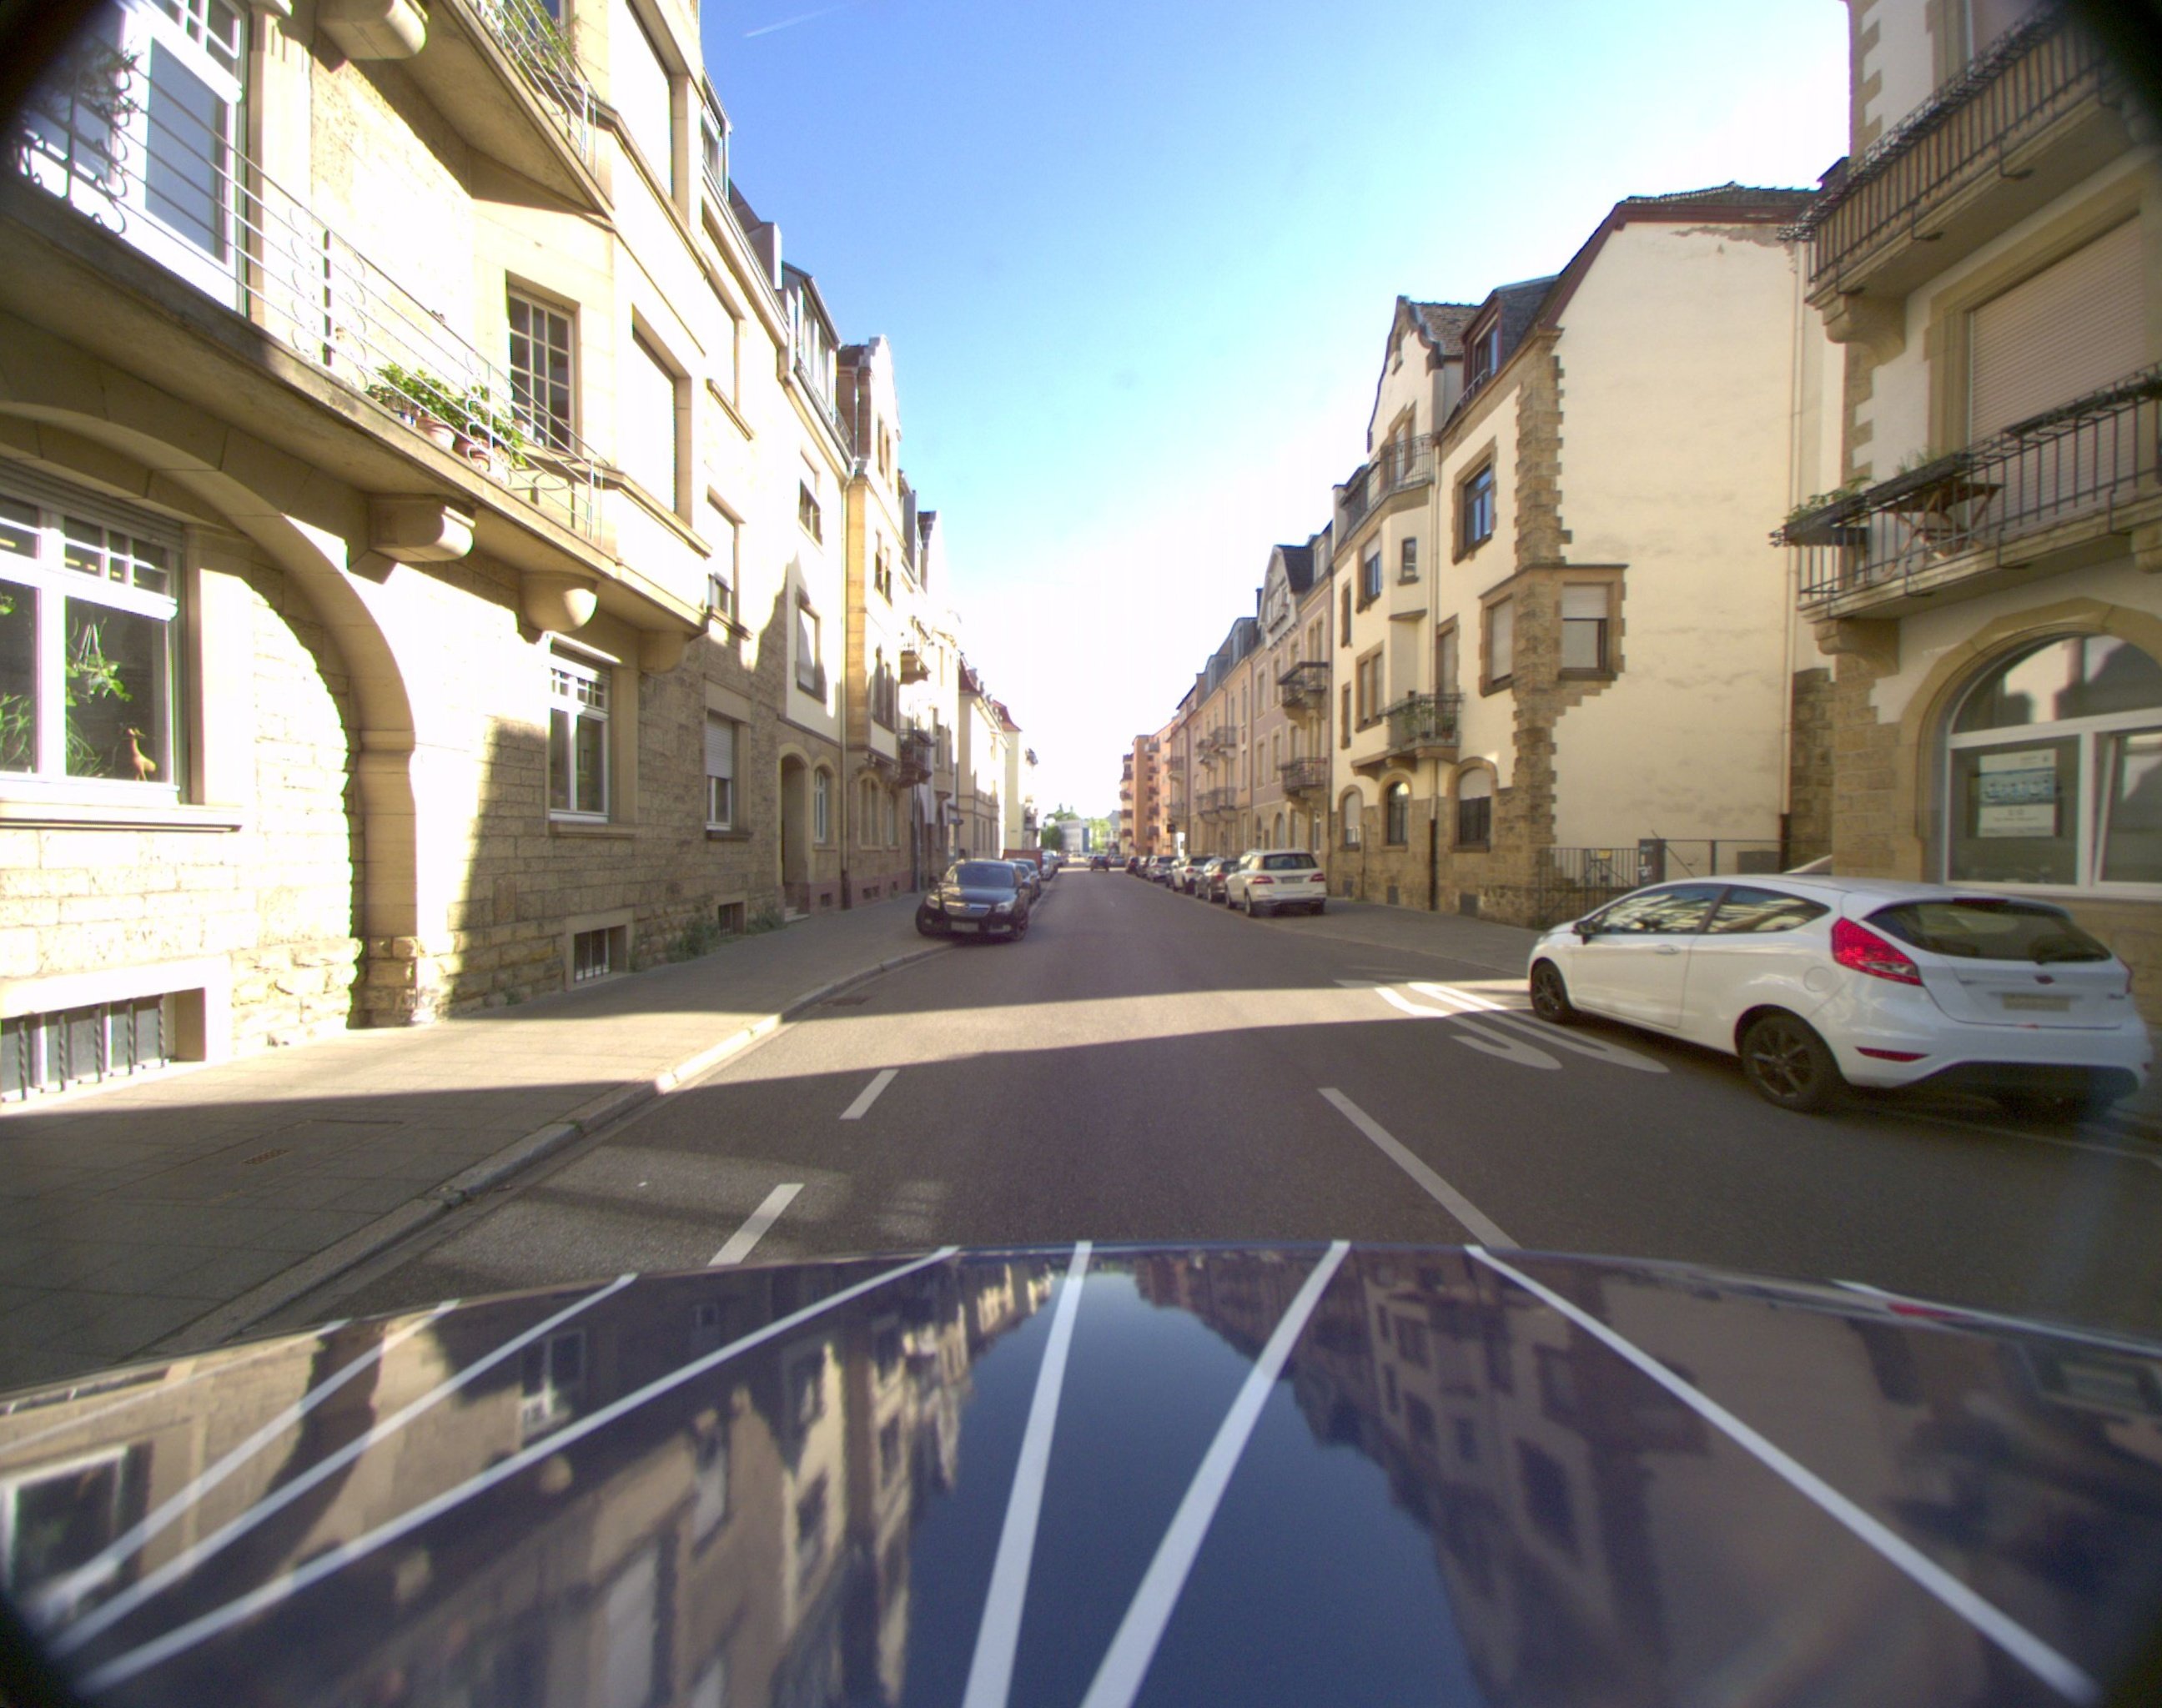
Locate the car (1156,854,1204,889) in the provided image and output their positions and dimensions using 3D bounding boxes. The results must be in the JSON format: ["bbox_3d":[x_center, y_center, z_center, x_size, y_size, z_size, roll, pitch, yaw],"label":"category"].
[{"bbox_3d":[4.858,0.814,37.797,1.857,1.491,4.318,-2,1,1],"label":"car"}]

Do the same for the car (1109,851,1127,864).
[{"bbox_3d":[4.627,0.388,96.197,2.005,1.500,4.320,1,1,-1],"label":"car"}]

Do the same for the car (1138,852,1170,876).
[{"bbox_3d":[4.995,0.665,52.342,1.809,1.500,4.003,-2,1,1],"label":"car"}]

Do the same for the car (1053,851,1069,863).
[{"bbox_3d":[-2.579,0.429,99.944,2.005,1.500,4.320,1,1,-1],"label":"car"}]

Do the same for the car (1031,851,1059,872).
[{"bbox_3d":[-2.741,0.534,58.657,2.005,1.500,4.320,1,1,-1],"label":"car"}]

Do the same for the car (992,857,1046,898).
[{"bbox_3d":[-2.382,0.889,30.112,1.824,1.415,4.320,1,1,-1],"label":"car"}]

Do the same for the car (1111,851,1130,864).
[{"bbox_3d":[4.677,0.405,91.383,2.005,1.500,4.320,1,1,-1],"label":"car"}]

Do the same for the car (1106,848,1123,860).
[{"bbox_3d":[4.522,-0.001,101.949,2.005,1.500,4.320,1,1,-1],"label":"car"}]

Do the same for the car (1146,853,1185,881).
[{"bbox_3d":[5.024,0.730,45.823,1.890,1.500,4.320,-2,1,1],"label":"car"}]

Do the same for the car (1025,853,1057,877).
[{"bbox_3d":[-2.745,0.735,52.632,2.005,1.500,4.320,1,1,-1],"label":"car"}]

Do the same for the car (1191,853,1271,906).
[{"bbox_3d":[5.125,0.818,26.536,1.890,1.500,4.320,-4,1,1],"label":"car"}]

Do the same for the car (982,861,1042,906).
[{"bbox_3d":[-2.231,0.925,25.369,1.661,1.272,3.729,1,1,-1],"label":"car"}]

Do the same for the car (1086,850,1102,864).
[{"bbox_3d":[1.423,0.305,84.582,1.702,1.474,3.534,1,0,0],"label":"car"}]

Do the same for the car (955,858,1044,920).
[{"bbox_3d":[-2.095,0.872,20.791,2.005,1.499,4.321,1,0,-1],"label":"car"}]

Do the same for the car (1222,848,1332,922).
[{"bbox_3d":[5.198,0.748,20.736,1.890,1.717,4.211,-2,1,1],"label":"car"}]

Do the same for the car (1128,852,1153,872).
[{"bbox_3d":[4.896,0.638,62.964,1.793,1.500,4.320,-2,1,1],"label":"car"}]

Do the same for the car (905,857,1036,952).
[{"bbox_3d":[-2.035,0.880,15.242,2.024,1.500,4.111,2,1,-1],"label":"car"}]

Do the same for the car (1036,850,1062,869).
[{"bbox_3d":[-2.669,0.450,64.490,2.005,1.500,4.320,1,1,-1],"label":"car"}]

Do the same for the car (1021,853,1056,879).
[{"bbox_3d":[-2.650,0.716,47.859,2.005,1.500,4.320,1,1,-1],"label":"car"}]

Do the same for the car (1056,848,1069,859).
[{"bbox_3d":[-2.934,-0.106,123.323,2.005,1.722,4.320,1,1,-1],"label":"car"}]

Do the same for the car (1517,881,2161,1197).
[{"bbox_3d":[5.114,1.012,5.690,1.656,1.449,3.643,2,0,2],"label":"car"}]

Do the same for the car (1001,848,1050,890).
[{"bbox_3d":[-2.557,0.649,35.801,2.005,1.828,4.320,1,1,-1],"label":"car"}]

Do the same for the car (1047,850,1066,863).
[{"bbox_3d":[-2.840,0.264,88.970,2.005,1.500,4.320,1,1,-1],"label":"car"}]

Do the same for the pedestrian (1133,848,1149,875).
[{"bbox_3d":[4.612,0.560,58.264,1.066,2.002,0.952,-2,1,-3],"label":"pedestrian"}]

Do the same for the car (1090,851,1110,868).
[{"bbox_3d":[1.728,0.470,68.870,1.656,1.449,3.642,0,1,-1],"label":"car"}]

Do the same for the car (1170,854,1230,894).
[{"bbox_3d":[4.987,0.792,32.357,1.890,1.500,4.320,-2,1,1],"label":"car"}]
